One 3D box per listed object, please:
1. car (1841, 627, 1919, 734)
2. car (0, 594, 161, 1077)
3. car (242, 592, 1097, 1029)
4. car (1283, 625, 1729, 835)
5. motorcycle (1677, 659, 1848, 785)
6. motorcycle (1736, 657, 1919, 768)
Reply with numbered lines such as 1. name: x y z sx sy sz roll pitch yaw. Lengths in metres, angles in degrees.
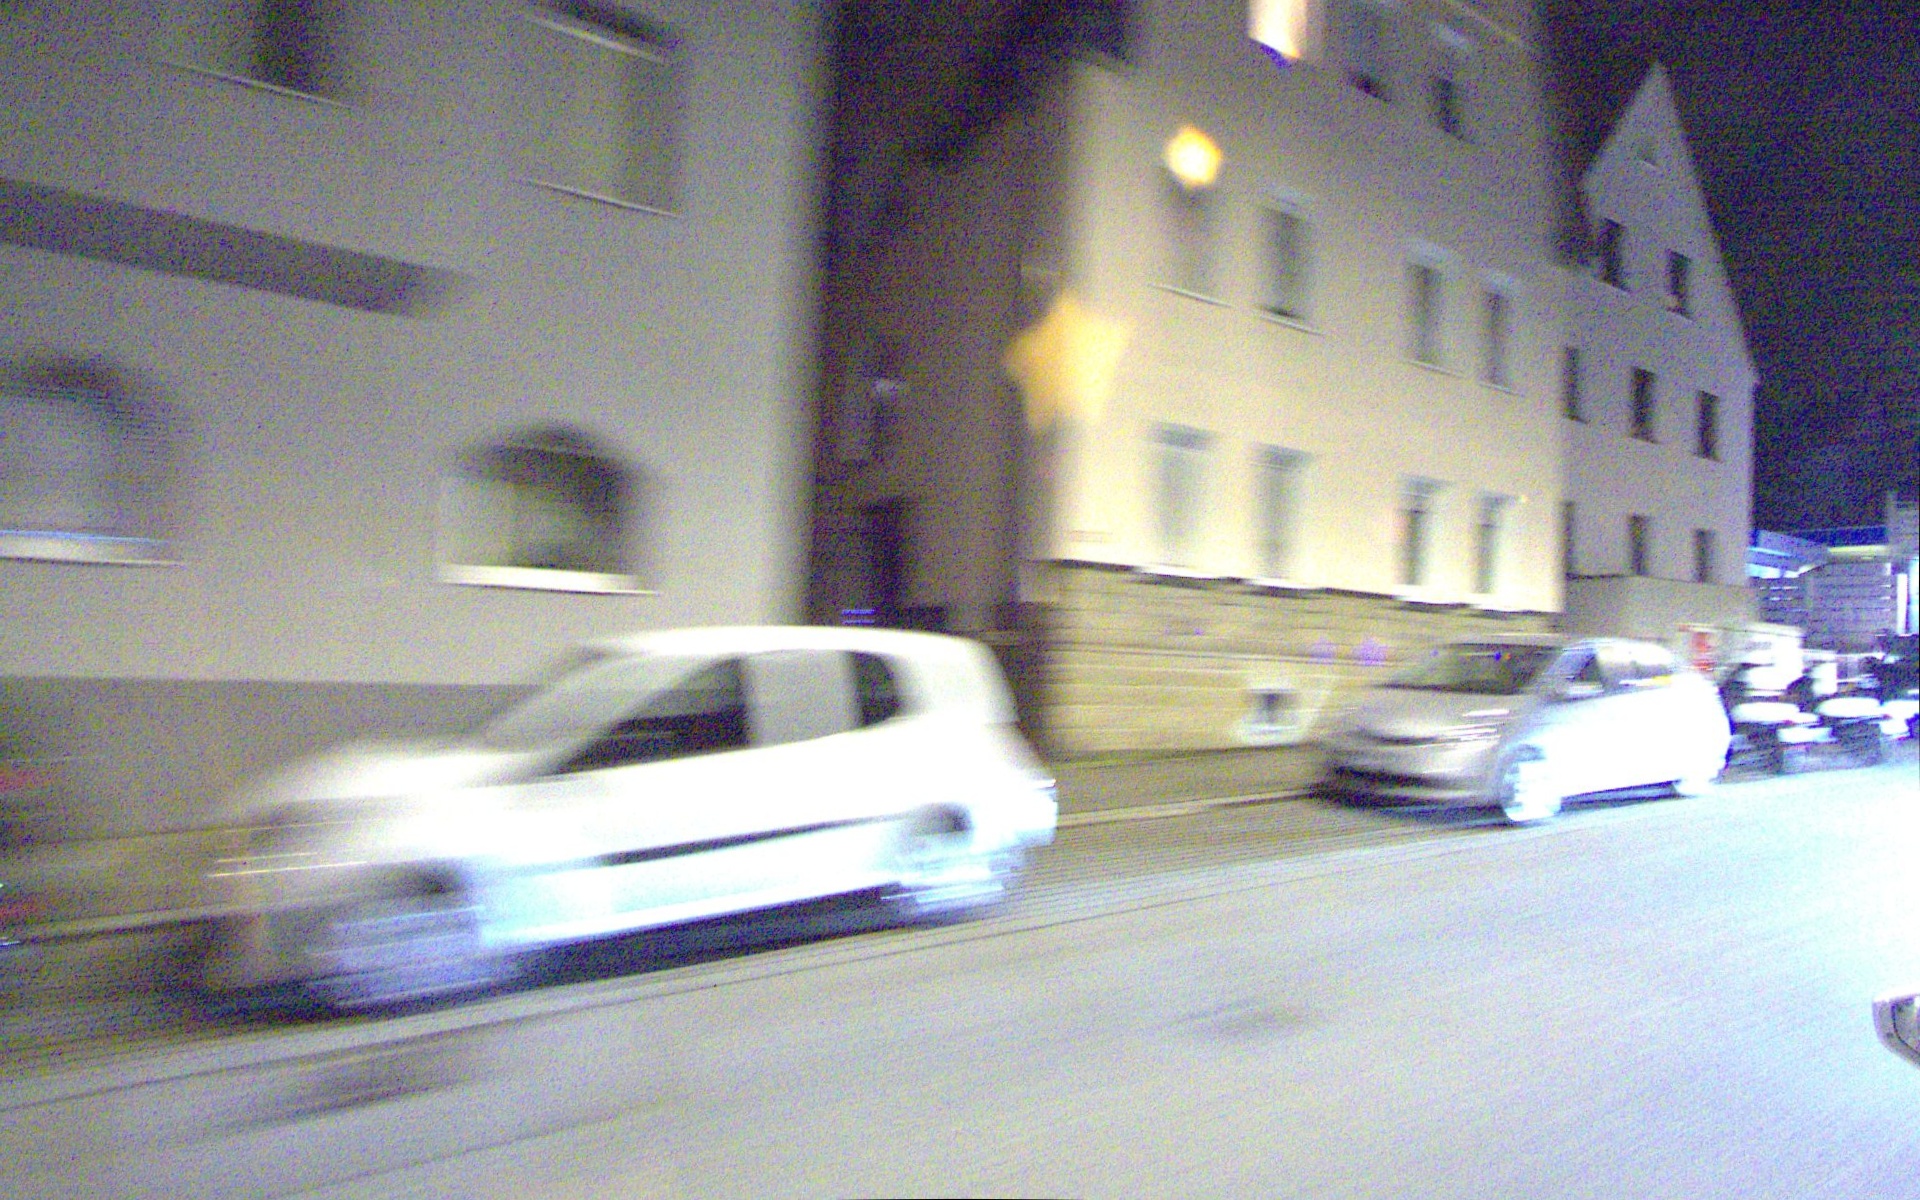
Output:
1. car: 14.770 1.201 14.985 2.732 1.517 1.632 3 -2 -29
2. car: -5.198 0.668 2.917 4.232 1.511 1.854 3 -1 -32
3. car: -1.277 0.799 5.154 3.738 1.511 1.613 3 -1 -32
4. car: 5.018 1.011 9.087 4.180 1.511 1.695 1 -3 -32
5. motorcycle: 8.721 1.271 11.042 0.701 1.162 2.210 0 -2 17
6. motorcycle: 10.458 1.287 12.023 0.701 1.146 2.210 0 -2 3
